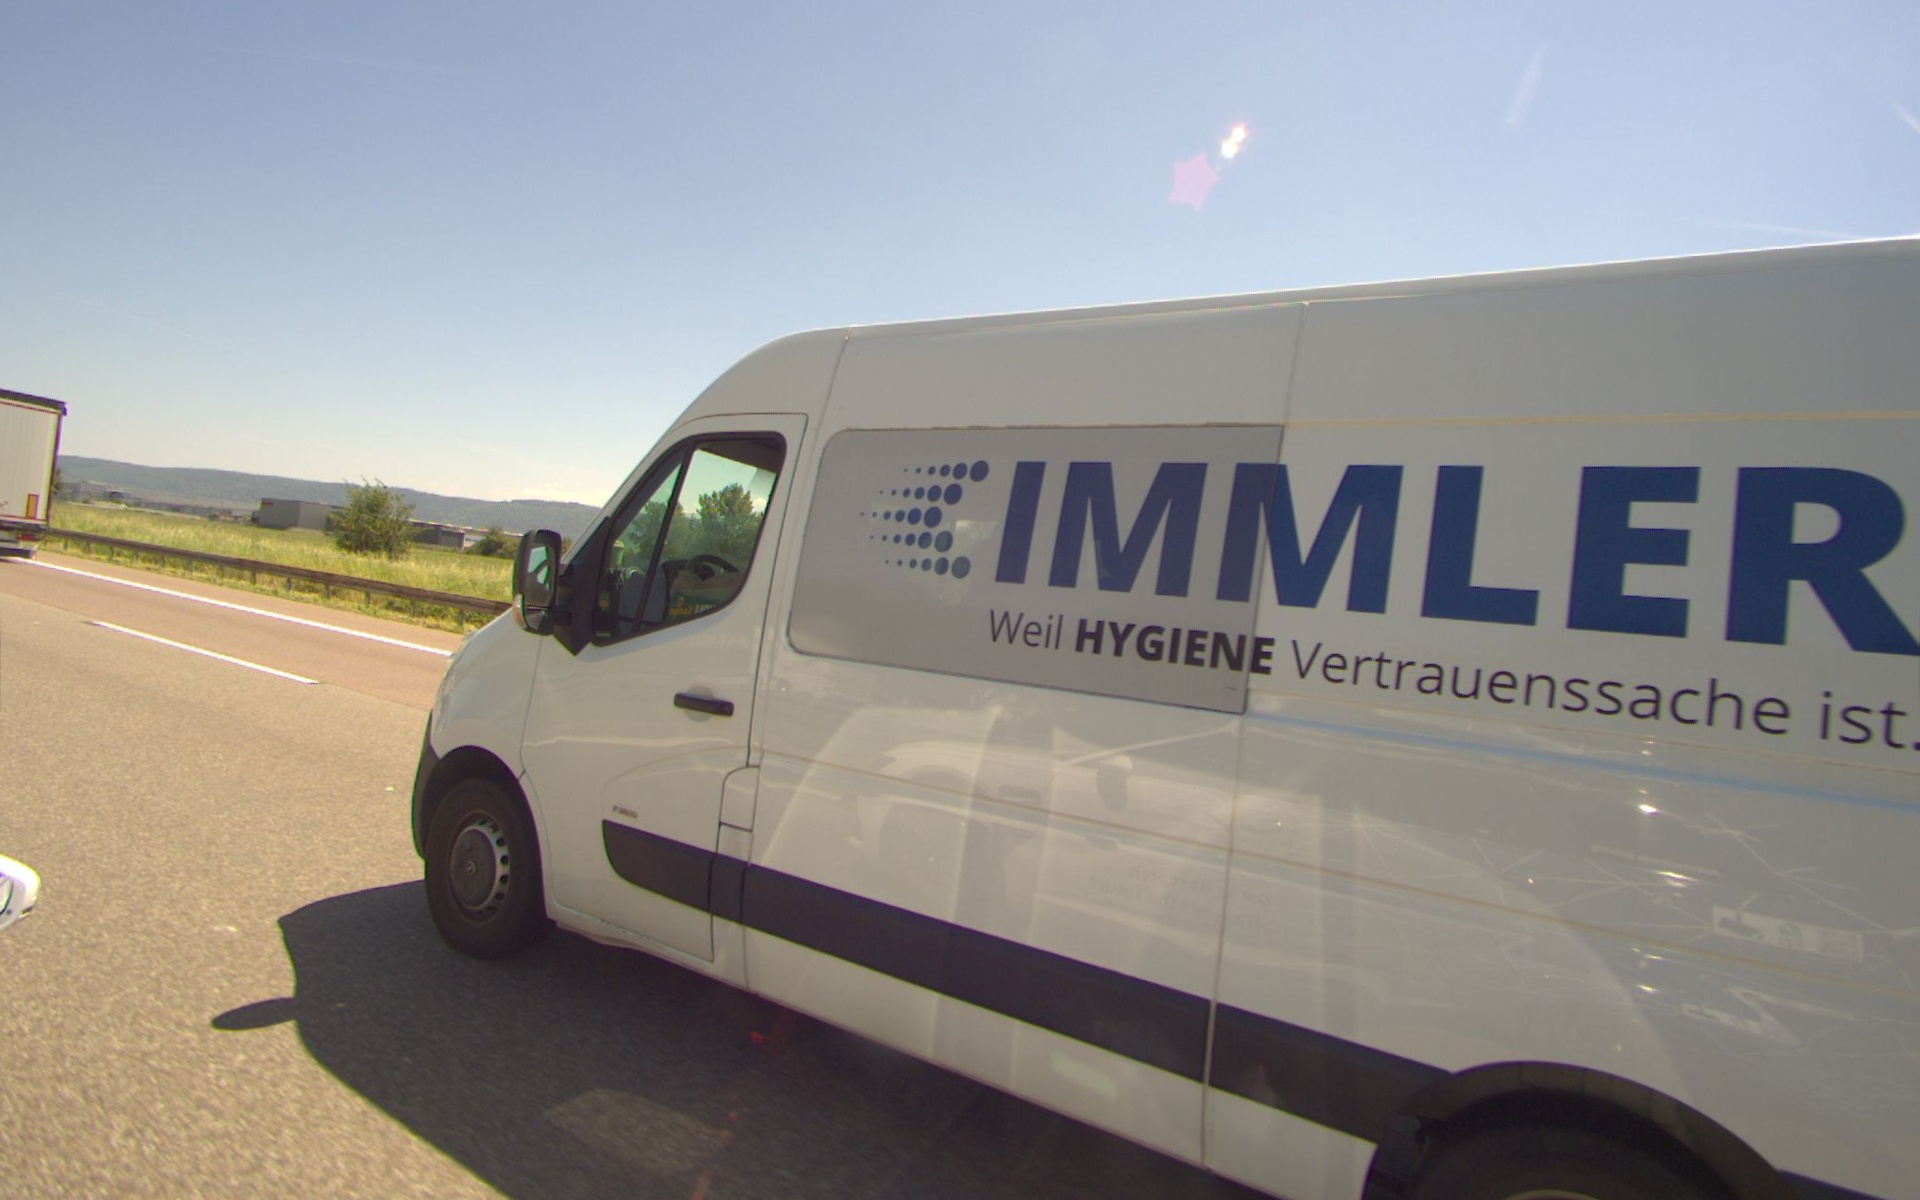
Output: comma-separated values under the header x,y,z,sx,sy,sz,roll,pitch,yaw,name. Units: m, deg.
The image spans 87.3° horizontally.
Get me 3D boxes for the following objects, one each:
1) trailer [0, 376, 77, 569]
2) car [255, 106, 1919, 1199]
x,y,z,sx,sy,sz,roll,pitch,yaw,name
-28.480,-3.697,27.141,14.020,4.354,2.815,6,-1,32,trailer
0.087,0.324,3.803,5.847,2.538,2.157,6,-2,32,car
